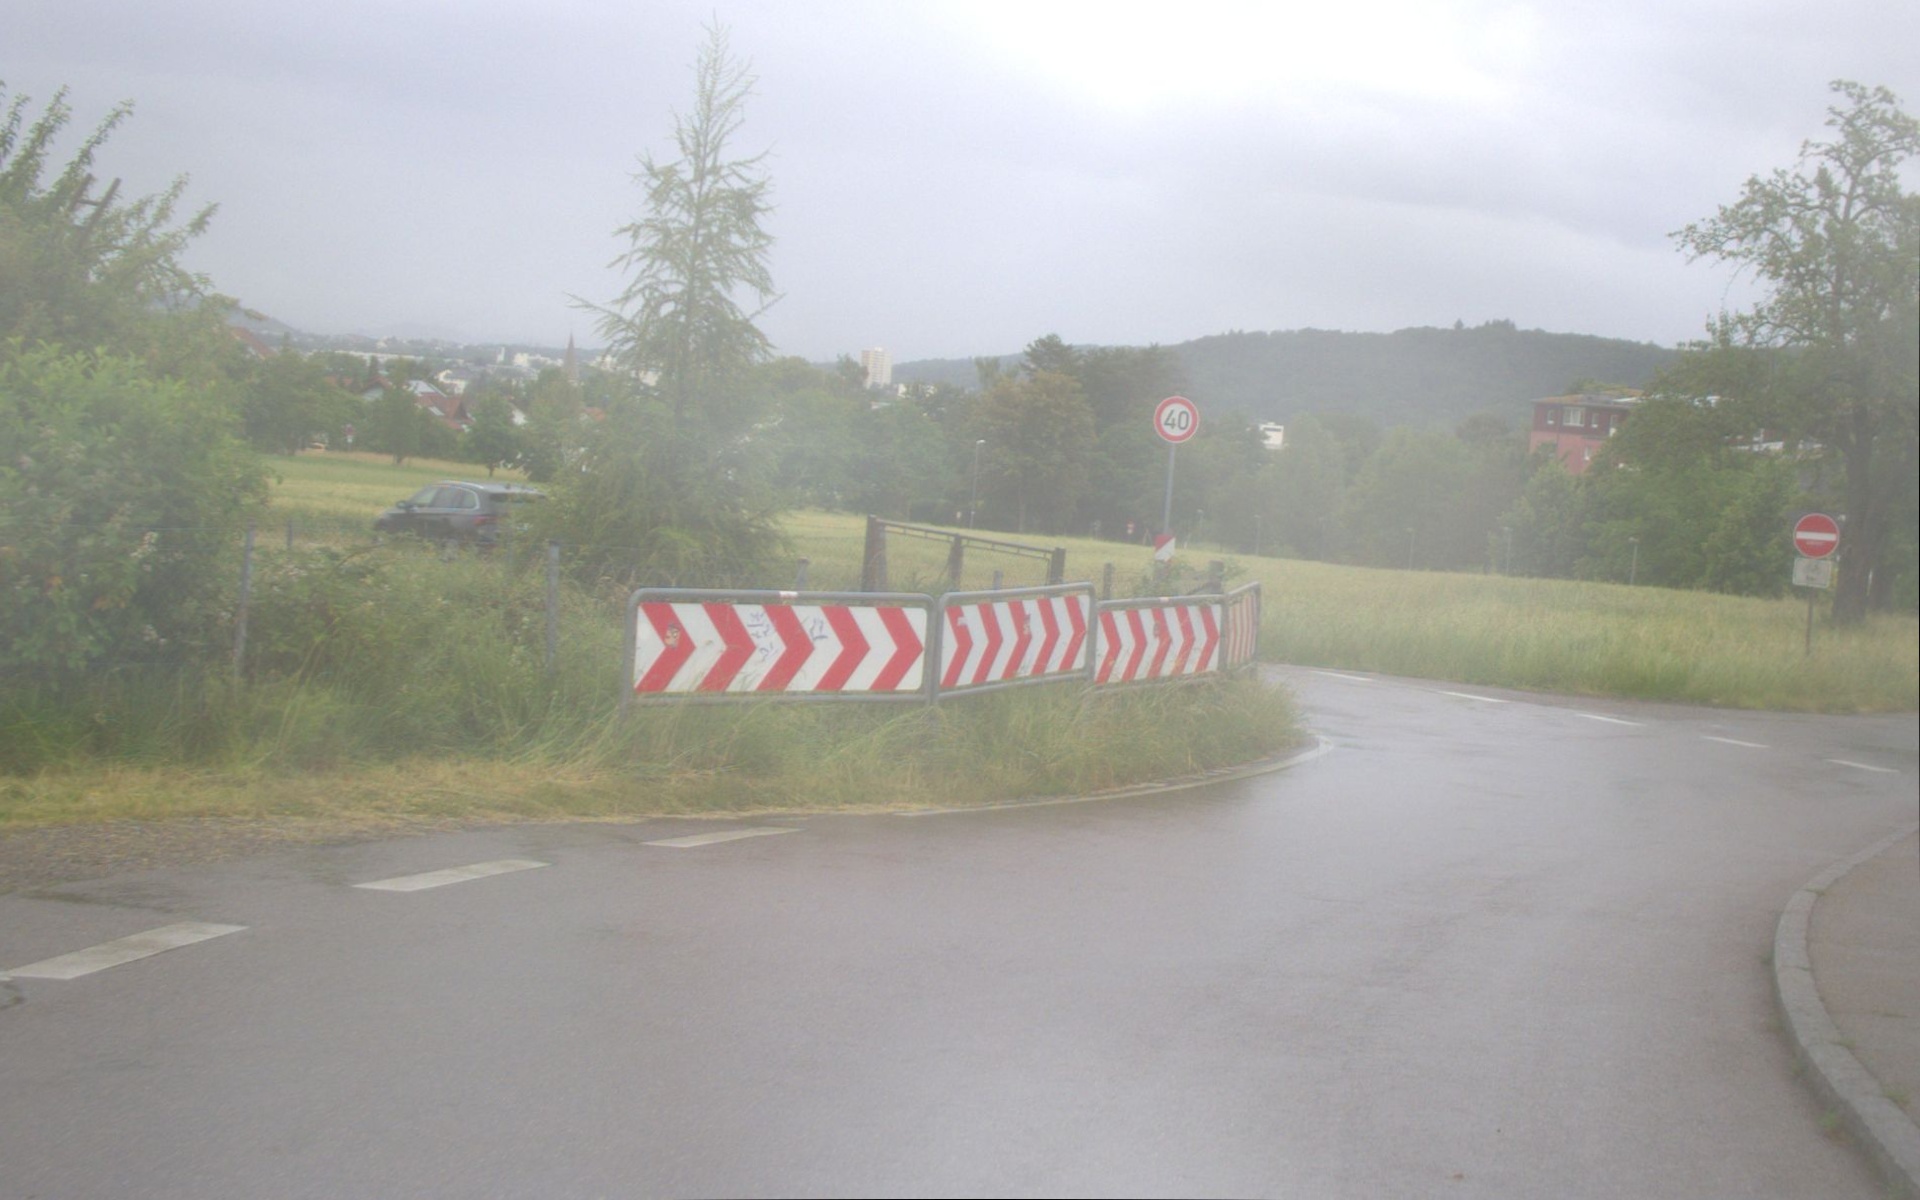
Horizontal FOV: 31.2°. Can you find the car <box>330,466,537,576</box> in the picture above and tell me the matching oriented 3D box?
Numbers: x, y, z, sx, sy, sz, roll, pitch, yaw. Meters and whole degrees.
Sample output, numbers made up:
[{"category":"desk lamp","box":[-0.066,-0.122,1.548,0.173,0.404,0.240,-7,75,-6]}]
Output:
[{"category":"car","box":[-8.588,-1.295,55.823,1.814,1.588,4.000,2,2,-32]}]
